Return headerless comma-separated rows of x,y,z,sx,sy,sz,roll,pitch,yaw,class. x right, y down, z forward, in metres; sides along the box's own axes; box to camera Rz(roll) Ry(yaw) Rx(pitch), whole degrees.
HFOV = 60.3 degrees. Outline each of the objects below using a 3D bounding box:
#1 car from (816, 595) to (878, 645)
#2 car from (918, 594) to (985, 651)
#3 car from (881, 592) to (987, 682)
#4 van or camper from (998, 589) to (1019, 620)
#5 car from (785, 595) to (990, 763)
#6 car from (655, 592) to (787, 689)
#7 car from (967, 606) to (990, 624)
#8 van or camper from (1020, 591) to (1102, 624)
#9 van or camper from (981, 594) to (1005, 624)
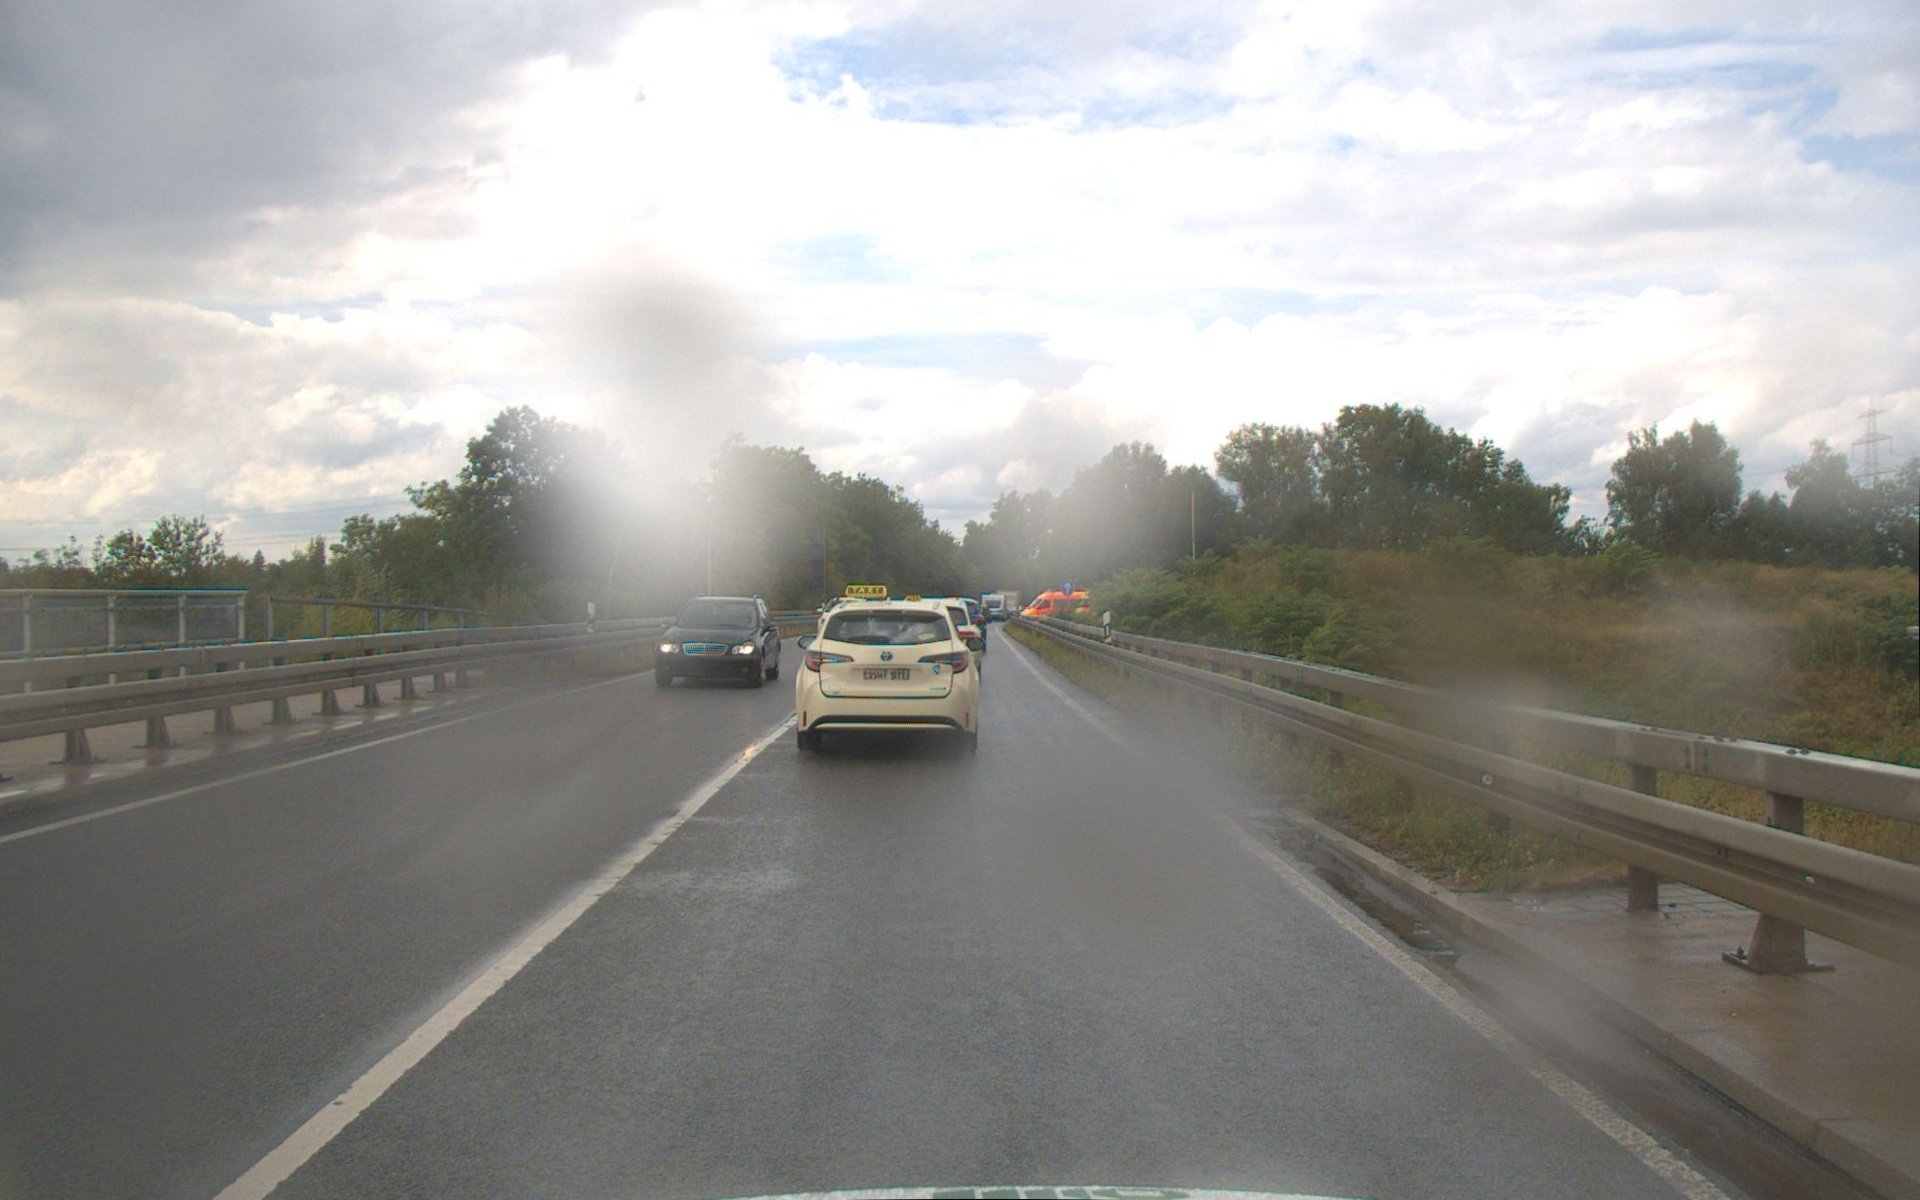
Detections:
-3.758,0.632,55.658,1.773,1.536,4.610,1,0,-1,car
-0.249,0.607,47.596,1.817,1.468,4.170,1,1,-1,car
-0.484,0.638,30.977,1.817,1.468,4.170,1,1,-1,car
5.704,0.509,196.114,2.285,3.625,6.307,1,0,1,van or camper
-0.681,0.705,16.976,1.817,1.418,4.170,1,1,-1,car
-3.944,0.625,27.885,1.662,1.457,4.322,1,0,-1,car
1.595,1.252,142.554,1.816,1.468,4.172,1,0,3,car
7.295,0.562,120.012,5.584,2.280,2.012,1,0,-15,van or camper
3.252,0.861,165.463,2.285,2.914,6.307,1,0,1,van or camper
